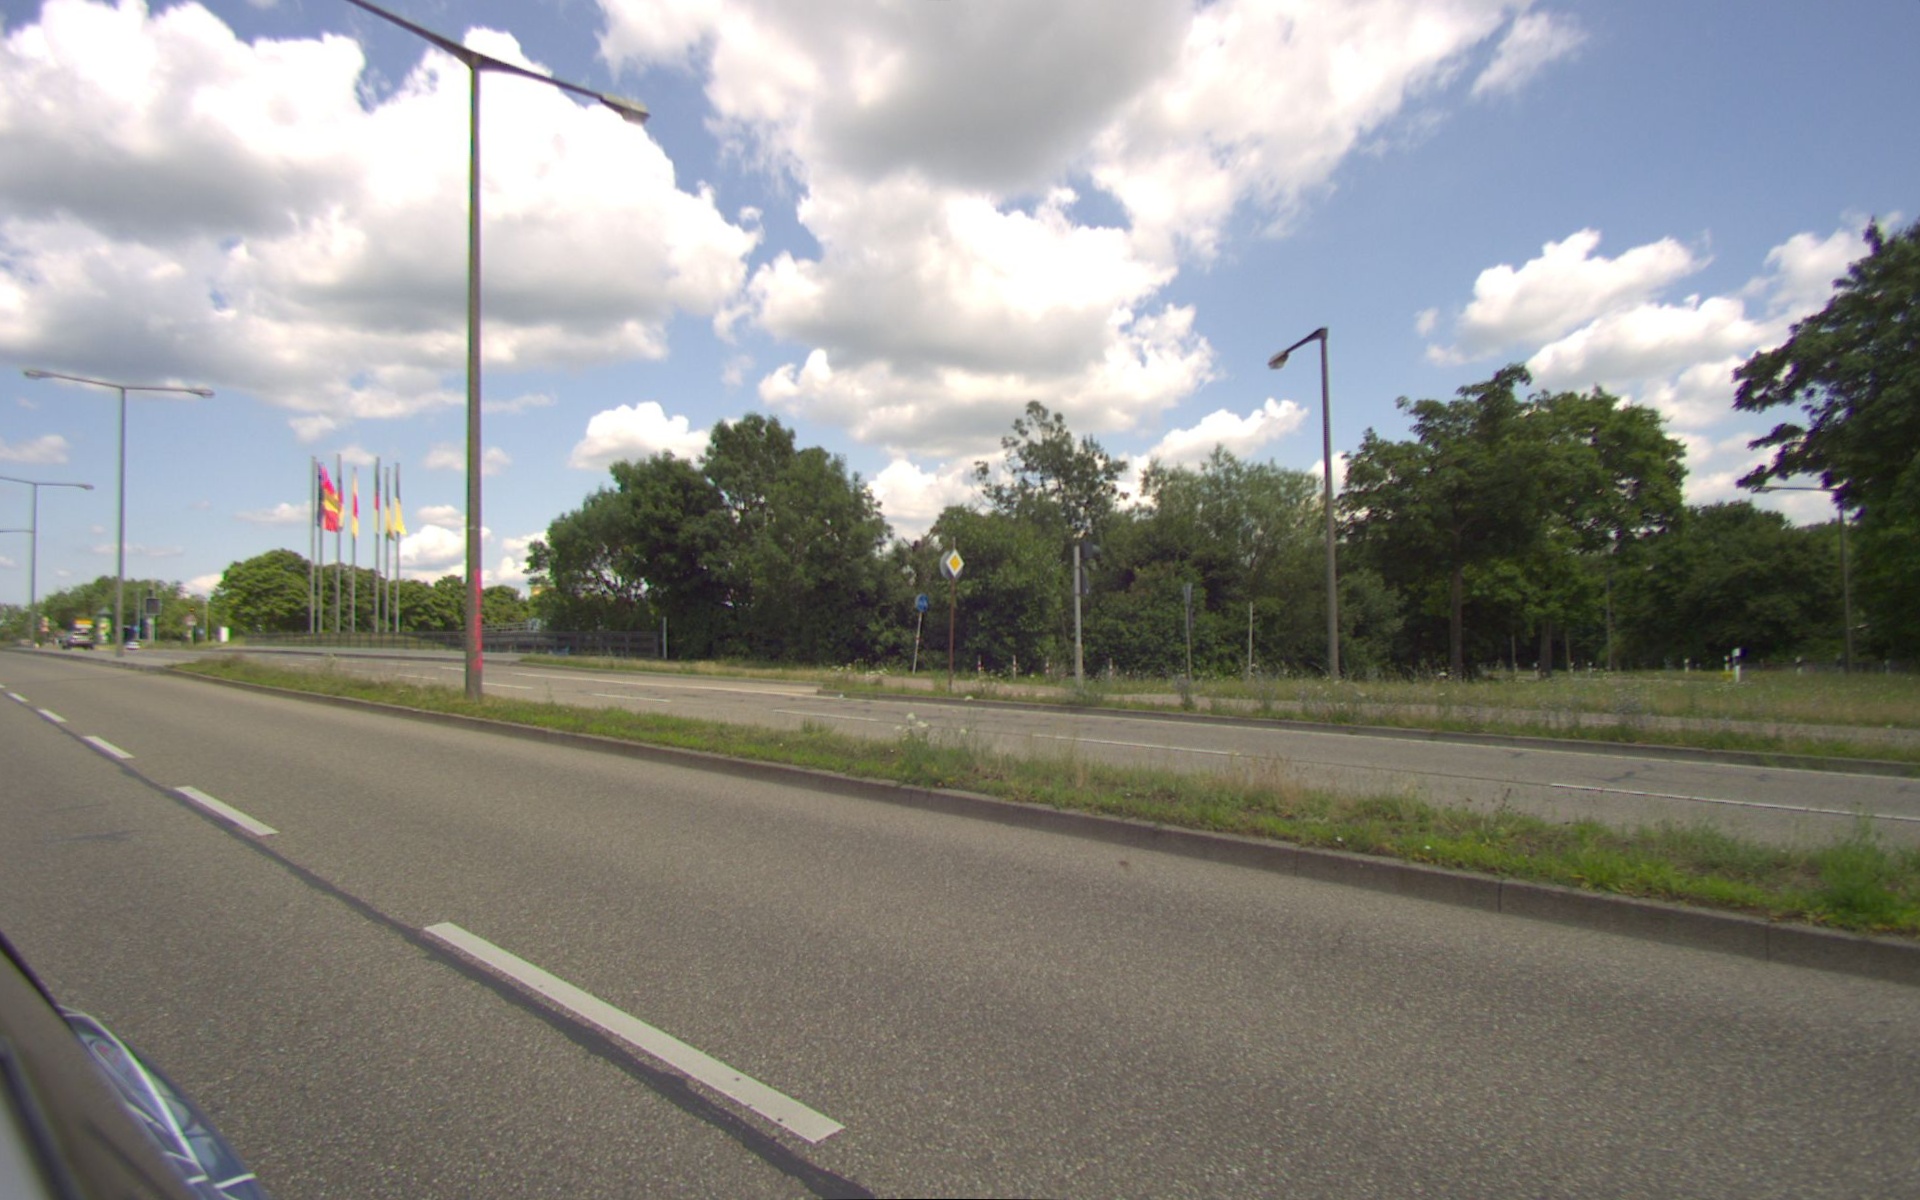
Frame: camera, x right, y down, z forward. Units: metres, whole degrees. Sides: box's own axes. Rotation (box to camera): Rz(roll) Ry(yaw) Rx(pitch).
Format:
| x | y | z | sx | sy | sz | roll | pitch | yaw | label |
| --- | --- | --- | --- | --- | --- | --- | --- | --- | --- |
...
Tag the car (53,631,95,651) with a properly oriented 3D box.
| x | y | z | sx | sy | sz | roll | pitch | yaw | label |
| --- | --- | --- | --- | --- | --- | --- | --- | --- | --- |
| -81.801 | 3.825 | 93.417 | 4.545 | 1.639 | 2.067 | -3 | -8 | 40 | car |
